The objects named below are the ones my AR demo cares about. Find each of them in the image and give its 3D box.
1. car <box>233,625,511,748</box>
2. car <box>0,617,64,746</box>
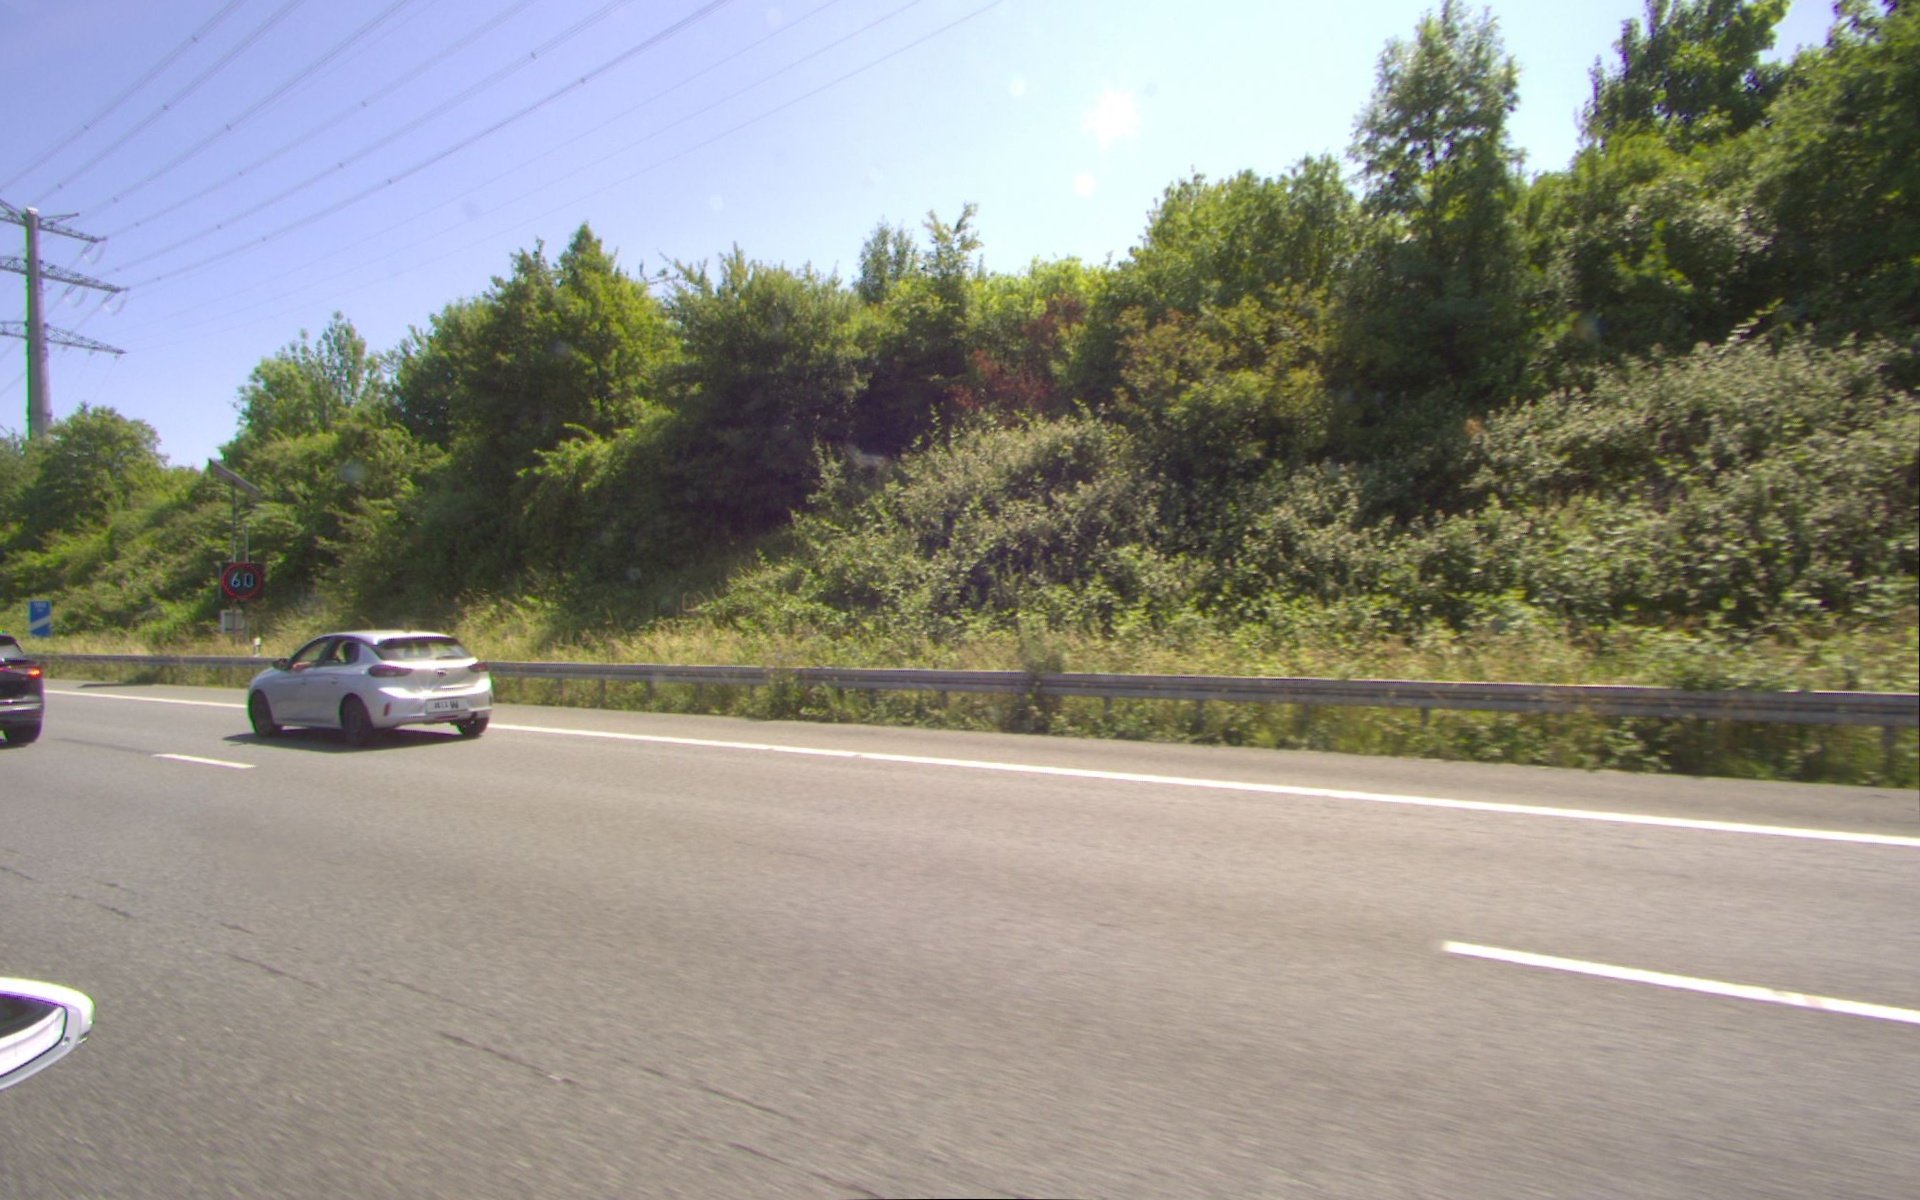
[{"bbox_3d":[-8.213,1.094,13.917,3.957,1.489,1.738,-1,-1,32],"label":"car"},{"bbox_3d":[-14.179,1.059,13.613,4.367,1.635,1.825,-1,-1,32],"label":"car"}]
